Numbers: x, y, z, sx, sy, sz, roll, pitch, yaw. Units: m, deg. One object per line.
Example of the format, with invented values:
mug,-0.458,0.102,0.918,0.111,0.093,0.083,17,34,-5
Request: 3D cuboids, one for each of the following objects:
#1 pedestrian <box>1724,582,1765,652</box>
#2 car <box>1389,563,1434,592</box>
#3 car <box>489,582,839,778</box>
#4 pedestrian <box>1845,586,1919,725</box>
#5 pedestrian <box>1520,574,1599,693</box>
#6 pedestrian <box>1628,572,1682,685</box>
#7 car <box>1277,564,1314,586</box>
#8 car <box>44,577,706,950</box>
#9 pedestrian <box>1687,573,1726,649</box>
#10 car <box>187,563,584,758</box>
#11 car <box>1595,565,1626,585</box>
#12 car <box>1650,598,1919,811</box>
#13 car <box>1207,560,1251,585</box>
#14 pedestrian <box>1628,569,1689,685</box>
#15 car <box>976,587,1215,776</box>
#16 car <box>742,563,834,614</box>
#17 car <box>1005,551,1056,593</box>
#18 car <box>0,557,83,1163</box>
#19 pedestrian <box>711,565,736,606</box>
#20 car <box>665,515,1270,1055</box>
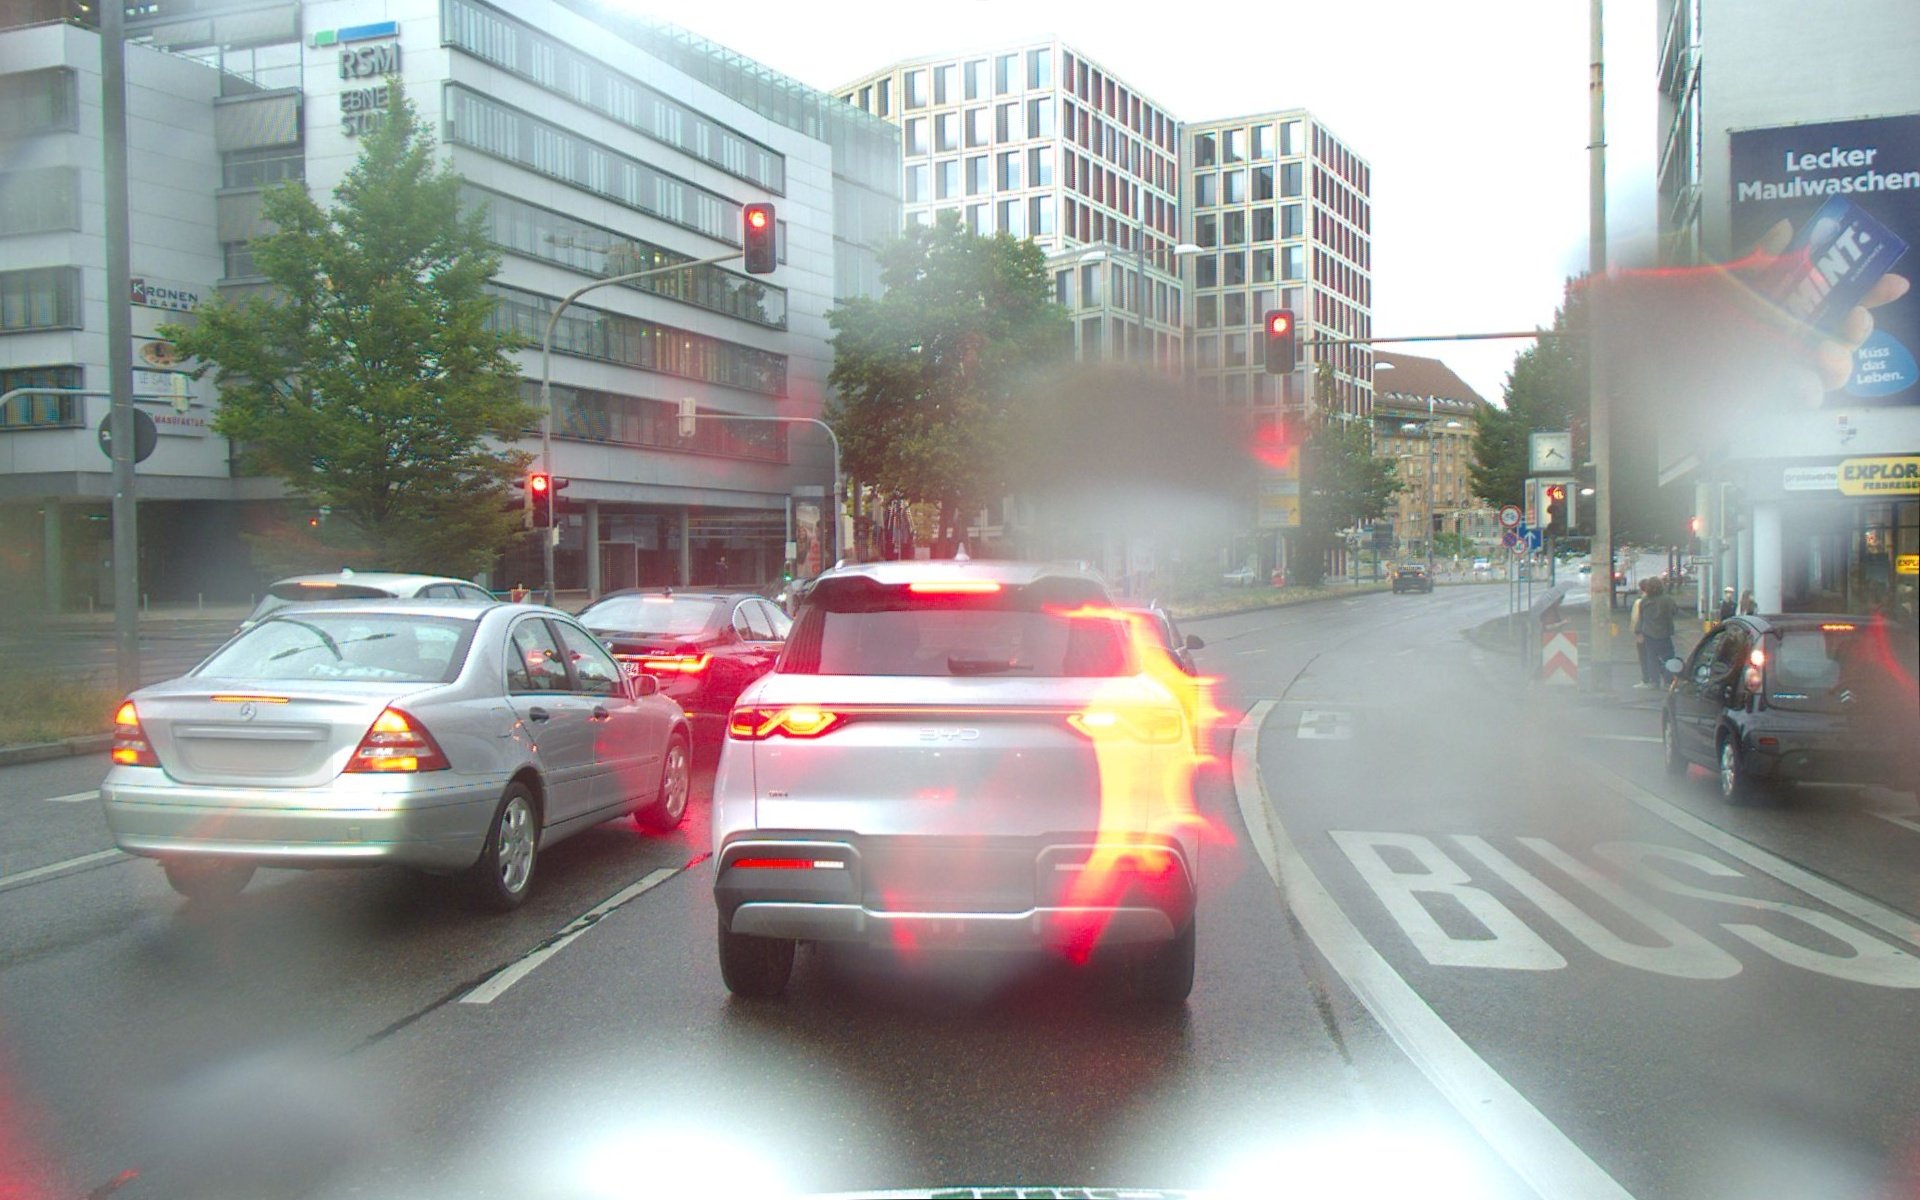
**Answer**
pedestrian,17.610,0.388,37.145,0.712,1.551,0.760,0,-1,15
car,25.031,-1.242,91.557,1.953,1.579,4.000,1,1,22
car,-2.554,0.617,15.343,1.913,1.557,4.004,0,1,10
pedestrian,12.315,0.710,21.782,1.000,1.786,0.790,0,0,44
pedestrian,9.032,0.492,24.944,0.904,1.768,0.729,0,0,-6
pedestrian,11.427,0.454,27.205,0.712,1.830,0.740,0,0,15
car,28.162,-2.088,138.752,1.954,1.735,4.305,1,2,26
car,-2.738,0.638,8.867,1.646,1.512,4.200,0,1,7
pedestrian,16.928,0.254,37.514,0.712,1.698,0.691,0,-1,15
car,-5.322,0.485,15.935,1.844,1.624,4.004,0,1,11
car,52.814,-2.051,134.253,1.873,1.536,4.350,2,1,28
car,6.909,0.750,13.664,1.627,1.498,3.487,0,1,12
car,19.517,-2.030,119.849,1.954,1.735,4.305,1,2,26
pedestrian,11.177,0.415,26.482,0.795,1.830,0.711,0,0,15
car,1.434,0.660,15.902,1.913,1.557,4.004,0,1,10
car,-6.352,-0.460,61.646,1.952,1.735,4.003,1,2,18
car,3.877,-1.504,90.499,1.700,2.199,4.496,1,0,17
car,-3.145,0.648,2.200,1.898,1.460,4.284,0,1,-4
pedestrian,-10.358,-0.633,72.493,0.712,1.757,0.925,0,0,21
car,0.099,0.559,7.584,1.952,1.739,4.484,0,1,2
